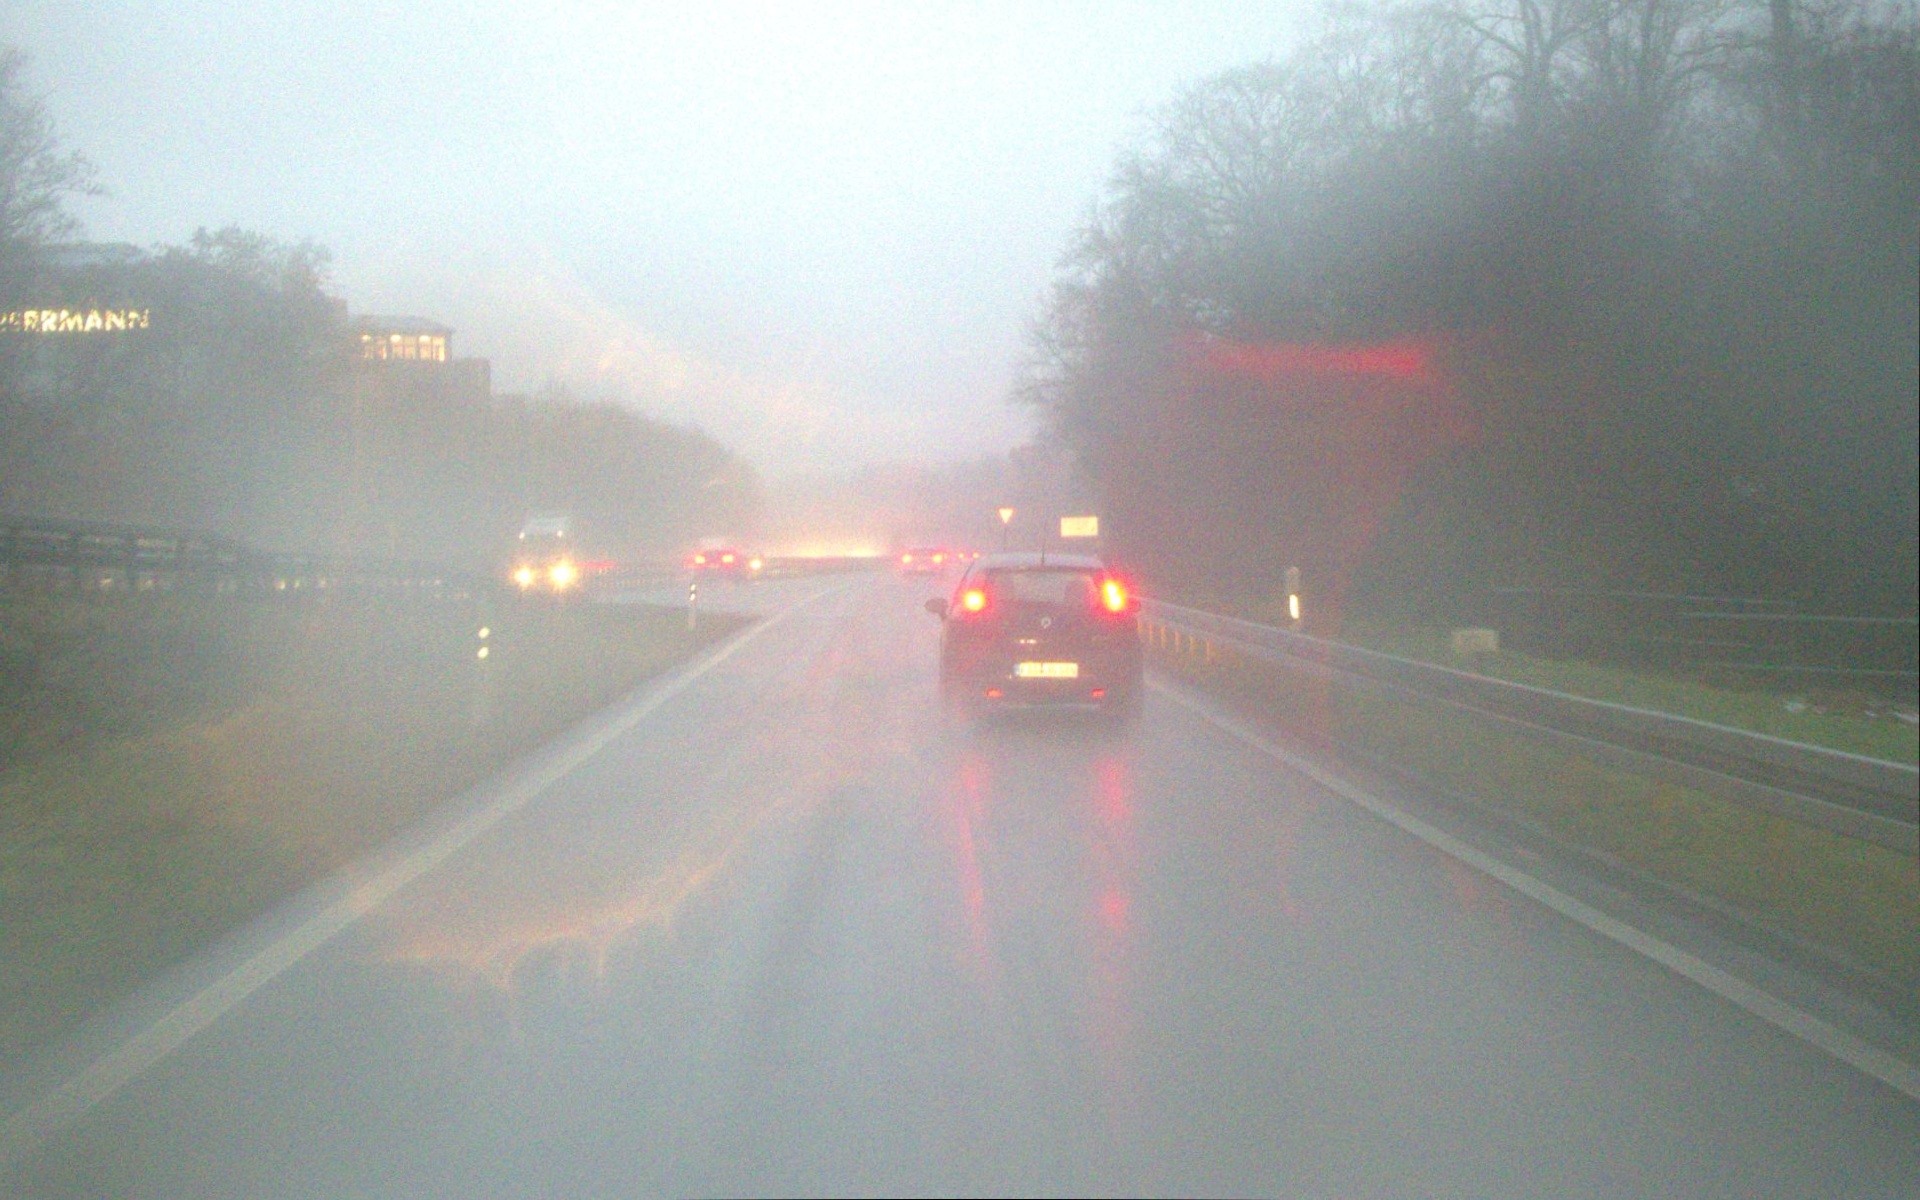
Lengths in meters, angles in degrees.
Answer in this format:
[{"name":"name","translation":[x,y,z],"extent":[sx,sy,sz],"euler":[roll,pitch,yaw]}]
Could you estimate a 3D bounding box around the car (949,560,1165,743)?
[{"name":"car","translation":[0.812,0.408,30.612],"extent":[1.732,1.424,3.765],"euler":[3,1,0]}]
